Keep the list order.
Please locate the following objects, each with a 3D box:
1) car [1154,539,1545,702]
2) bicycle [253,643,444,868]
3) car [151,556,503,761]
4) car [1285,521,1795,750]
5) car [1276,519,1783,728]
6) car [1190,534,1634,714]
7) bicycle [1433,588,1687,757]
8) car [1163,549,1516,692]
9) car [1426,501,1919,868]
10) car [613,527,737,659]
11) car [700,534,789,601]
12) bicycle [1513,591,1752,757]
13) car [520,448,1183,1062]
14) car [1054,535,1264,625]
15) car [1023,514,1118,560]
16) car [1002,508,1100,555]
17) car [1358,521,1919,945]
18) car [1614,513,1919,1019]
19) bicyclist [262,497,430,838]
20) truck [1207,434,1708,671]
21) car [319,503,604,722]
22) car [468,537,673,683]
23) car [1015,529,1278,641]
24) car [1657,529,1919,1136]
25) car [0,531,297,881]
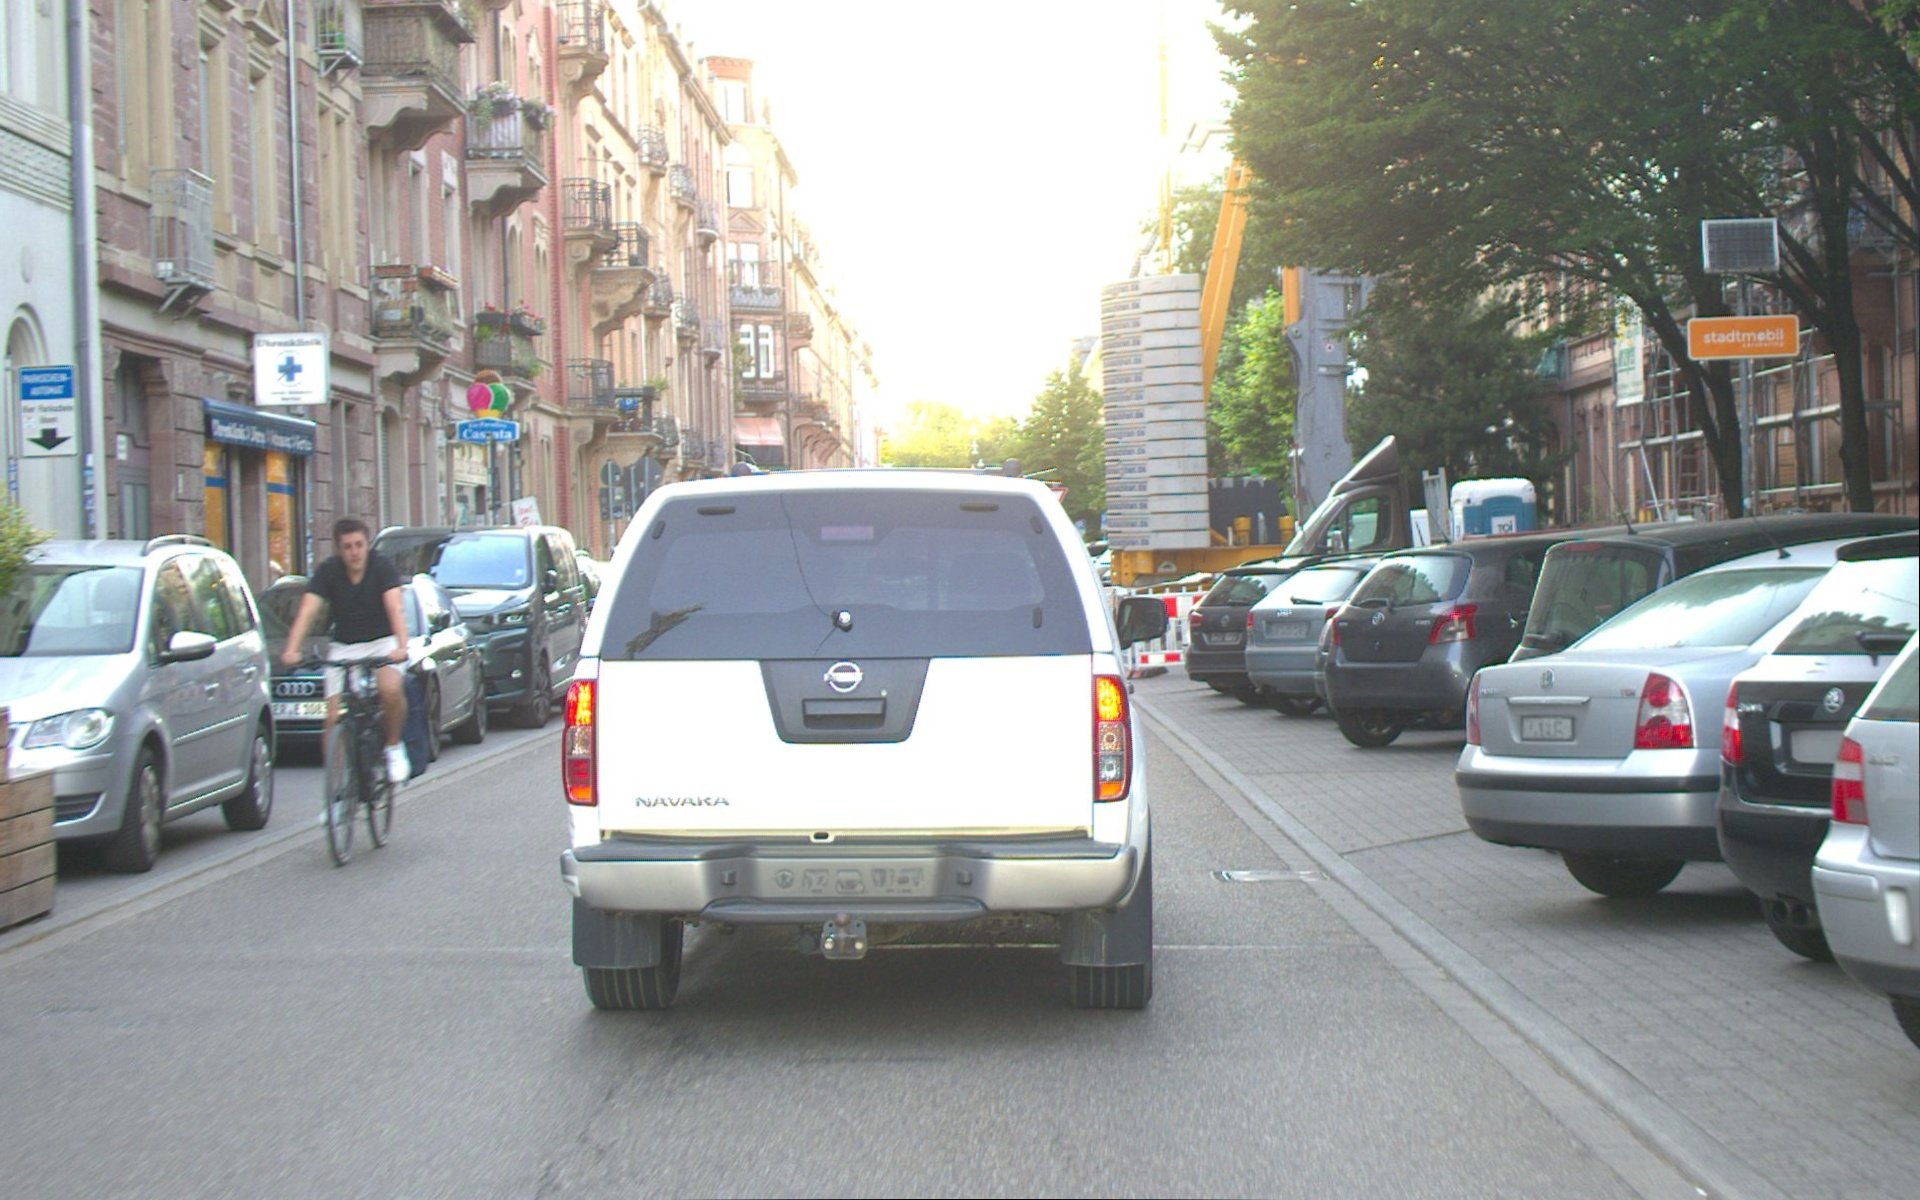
[{"bbox_3d":[3.941,0.168,34.510,3.882,1.525,1.637,-1,1,-39],"label":"car"},{"bbox_3d":[-3.124,0.771,17.721,0.614,1.036,1.904,-1,1,0],"label":"bicycle"},{"bbox_3d":[-4.852,0.393,26.986,1.911,1.467,4.534,0,1,0],"label":"car"},{"bbox_3d":[4.373,0.224,25.863,3.396,1.469,1.775,-4,2,-30],"label":"car"},{"bbox_3d":[4.804,0.176,29.002,3.824,1.525,1.763,-3,1,-25],"label":"car"},{"bbox_3d":[4.202,0.189,31.800,3.825,1.432,1.762,-3,2,-34],"label":"car"},{"bbox_3d":[4.101,0.493,23.630,0.692,1.104,1.858,-1,-1,-28],"label":"bicycle"},{"bbox_3d":[4.136,0.193,37.363,3.548,1.459,1.611,-1,1,-30],"label":"car"},{"bbox_3d":[4.574,0.327,17.330,3.986,1.631,1.759,-3,1,-19],"label":"car"},{"bbox_3d":[-4.301,-0.134,52.272,1.559,1.914,3.856,1,1,0],"label":"car"},{"bbox_3d":[-5.057,-0.784,81.097,1.791,1.525,4.000,-1,1,1],"label":"car"},{"bbox_3d":[4.667,0.511,23.973,0.557,1.104,1.858,-1,-1,-28],"label":"bicycle"},{"bbox_3d":[-0.250,0.421,12.423,1.933,1.788,4.622,-1,1,2],"label":"car"},{"bbox_3d":[4.037,-0.408,69.772,4.196,1.774,1.819,0,1,3],"label":"car"},{"bbox_3d":[5.424,-3.092,168.404,4.588,2.170,1.819,0,1,3],"label":"car"},{"bbox_3d":[4.361,-3.273,164.595,4.588,2.170,1.819,0,1,3],"label":"car"},{"bbox_3d":[3.973,0.433,14.544,4.373,1.529,1.807,-2,1,-33],"label":"car"},{"bbox_3d":[4.184,0.445,11.760,3.593,1.529,1.563,-2,1,-27],"label":"car"},{"bbox_3d":[-3.136,0.329,17.647,0.603,1.679,1.142,-1,1,1],"label":"bicyclist"},{"bbox_3d":[6.491,-0.589,45.529,6.321,2.966,2.264,0,-2,2],"label":"truck"},{"bbox_3d":[-4.643,0.075,32.725,1.905,1.919,4.947,0,1,1],"label":"car"},{"bbox_3d":[-4.741,0.089,42.385,1.905,1.657,4.068,-1,1,2],"label":"car"},{"bbox_3d":[3.078,-0.257,56.311,4.196,1.774,1.819,0,1,6],"label":"car"},{"bbox_3d":[3.877,0.511,9.267,3.593,1.477,1.723,-2,1,-27],"label":"car"},{"bbox_3d":[-4.863,0.474,17.830,1.993,1.586,4.314,-1,1,0],"label":"car"}]
